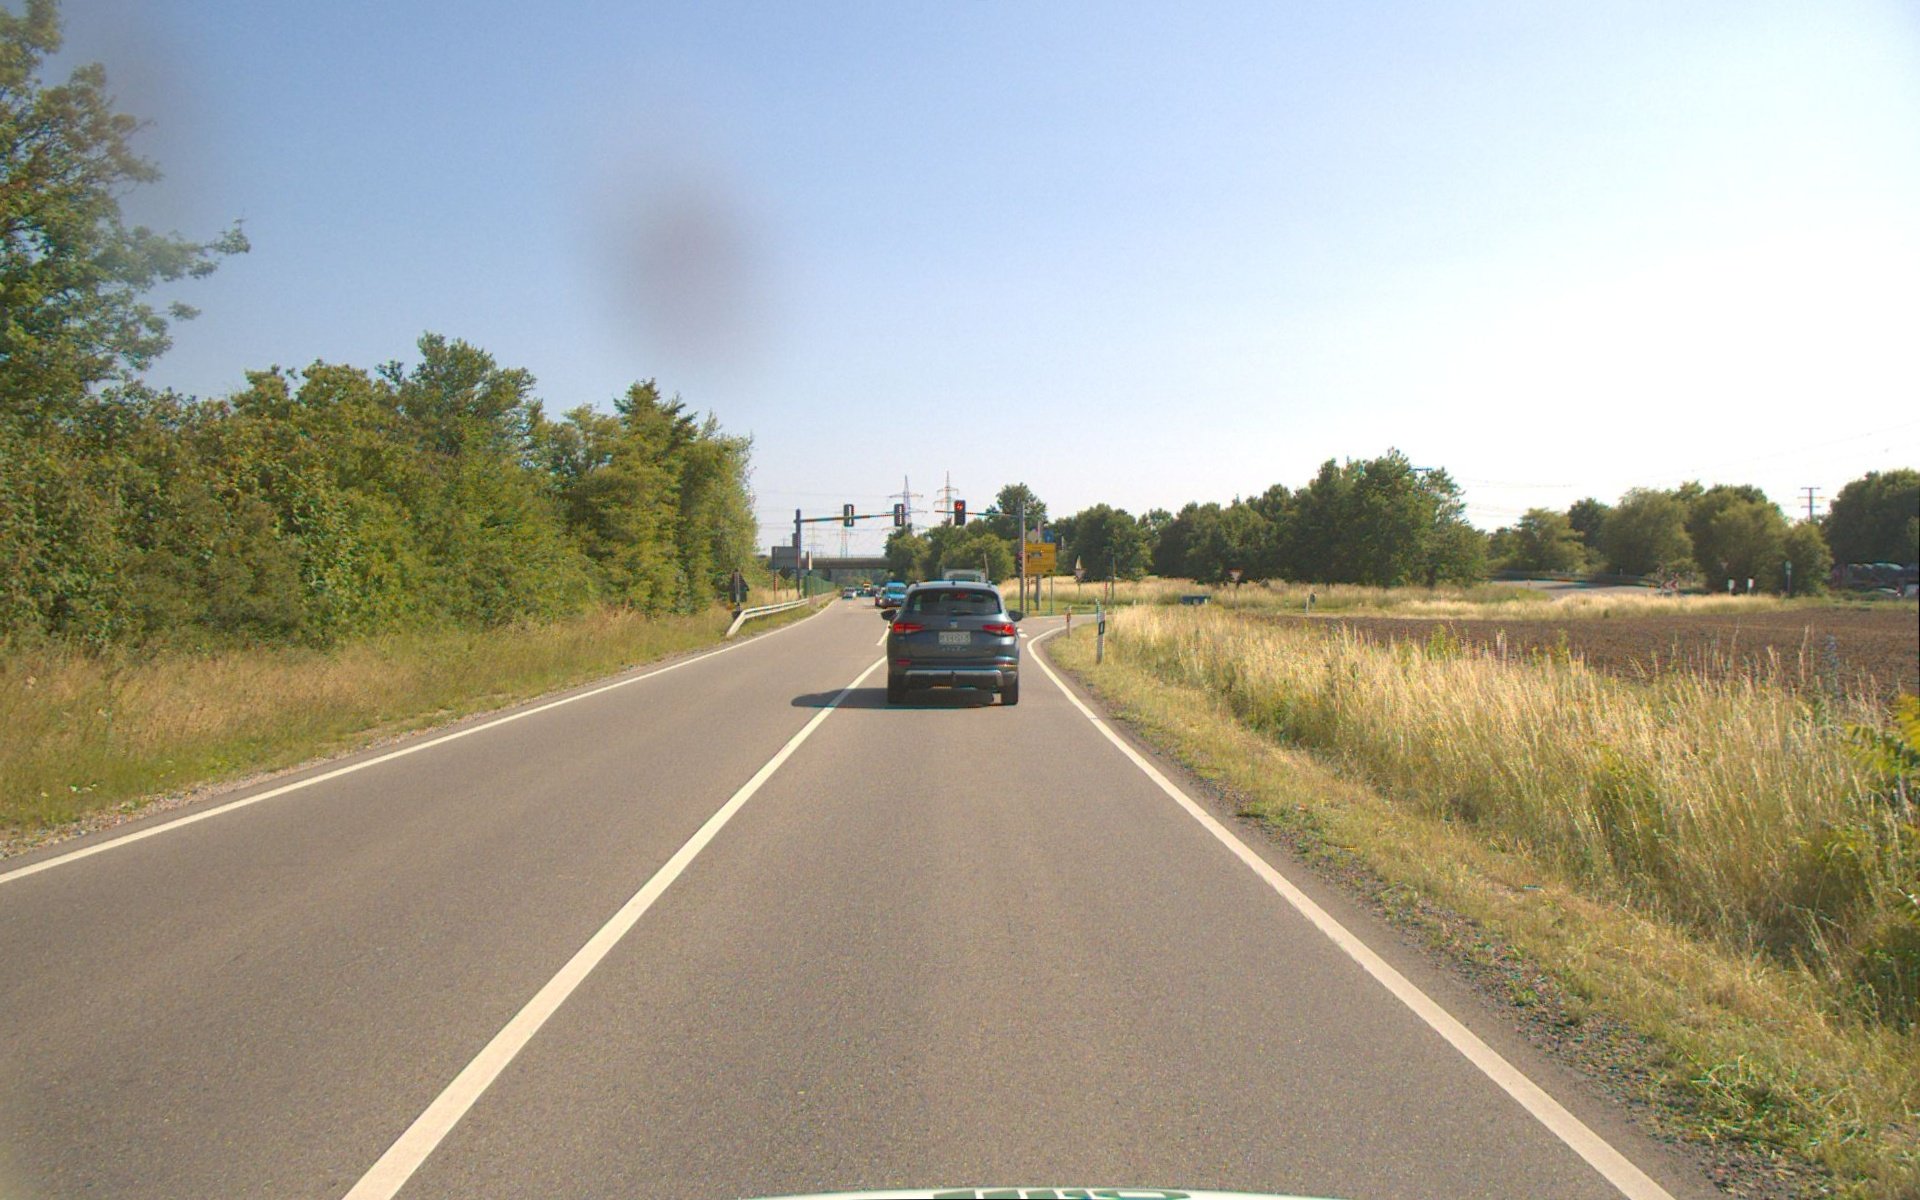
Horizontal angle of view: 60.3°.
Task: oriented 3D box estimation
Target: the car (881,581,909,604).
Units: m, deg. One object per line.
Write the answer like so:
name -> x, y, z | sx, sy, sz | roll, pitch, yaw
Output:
car -> -4.596, -0.560, 116.046 | 1.780, 1.567, 3.996 | 0, 1, -5

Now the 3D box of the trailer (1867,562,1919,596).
trailer -> 94.230, -2.077, 161.867 | 3.218, 3.324, 13.449 | 0, 1, -2

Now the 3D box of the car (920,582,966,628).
car -> -0.683, 0.163, 64.314 | 1.749, 1.705, 3.999 | 0, 1, -1

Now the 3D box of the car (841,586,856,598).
car -> -14.139, -1.021, 209.051 | 1.788, 1.456, 3.996 | 0, 1, -5

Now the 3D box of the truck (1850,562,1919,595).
truck -> 94.005, -2.185, 168.275 | 3.218, 3.324, 6.426 | 0, 1, -2

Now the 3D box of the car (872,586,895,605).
car -> -5.941, -0.390, 128.552 | 1.651, 1.404, 3.530 | 1, 1, -4

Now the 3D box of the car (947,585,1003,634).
car -> 0.475, 0.296, 55.513 | 1.749, 1.570, 3.999 | 0, 1, -1

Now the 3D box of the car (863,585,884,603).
car -> -7.148, -0.506, 136.189 | 1.651, 1.404, 3.530 | 1, 1, -4

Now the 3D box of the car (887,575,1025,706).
car -> -0.092, 0.487, 23.003 | 1.749, 1.657, 3.999 | 0, 1, -1

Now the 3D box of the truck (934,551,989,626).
truck -> 0.059, -0.472, 71.854 | 2.289, 3.119, 5.809 | 1, 0, 0
